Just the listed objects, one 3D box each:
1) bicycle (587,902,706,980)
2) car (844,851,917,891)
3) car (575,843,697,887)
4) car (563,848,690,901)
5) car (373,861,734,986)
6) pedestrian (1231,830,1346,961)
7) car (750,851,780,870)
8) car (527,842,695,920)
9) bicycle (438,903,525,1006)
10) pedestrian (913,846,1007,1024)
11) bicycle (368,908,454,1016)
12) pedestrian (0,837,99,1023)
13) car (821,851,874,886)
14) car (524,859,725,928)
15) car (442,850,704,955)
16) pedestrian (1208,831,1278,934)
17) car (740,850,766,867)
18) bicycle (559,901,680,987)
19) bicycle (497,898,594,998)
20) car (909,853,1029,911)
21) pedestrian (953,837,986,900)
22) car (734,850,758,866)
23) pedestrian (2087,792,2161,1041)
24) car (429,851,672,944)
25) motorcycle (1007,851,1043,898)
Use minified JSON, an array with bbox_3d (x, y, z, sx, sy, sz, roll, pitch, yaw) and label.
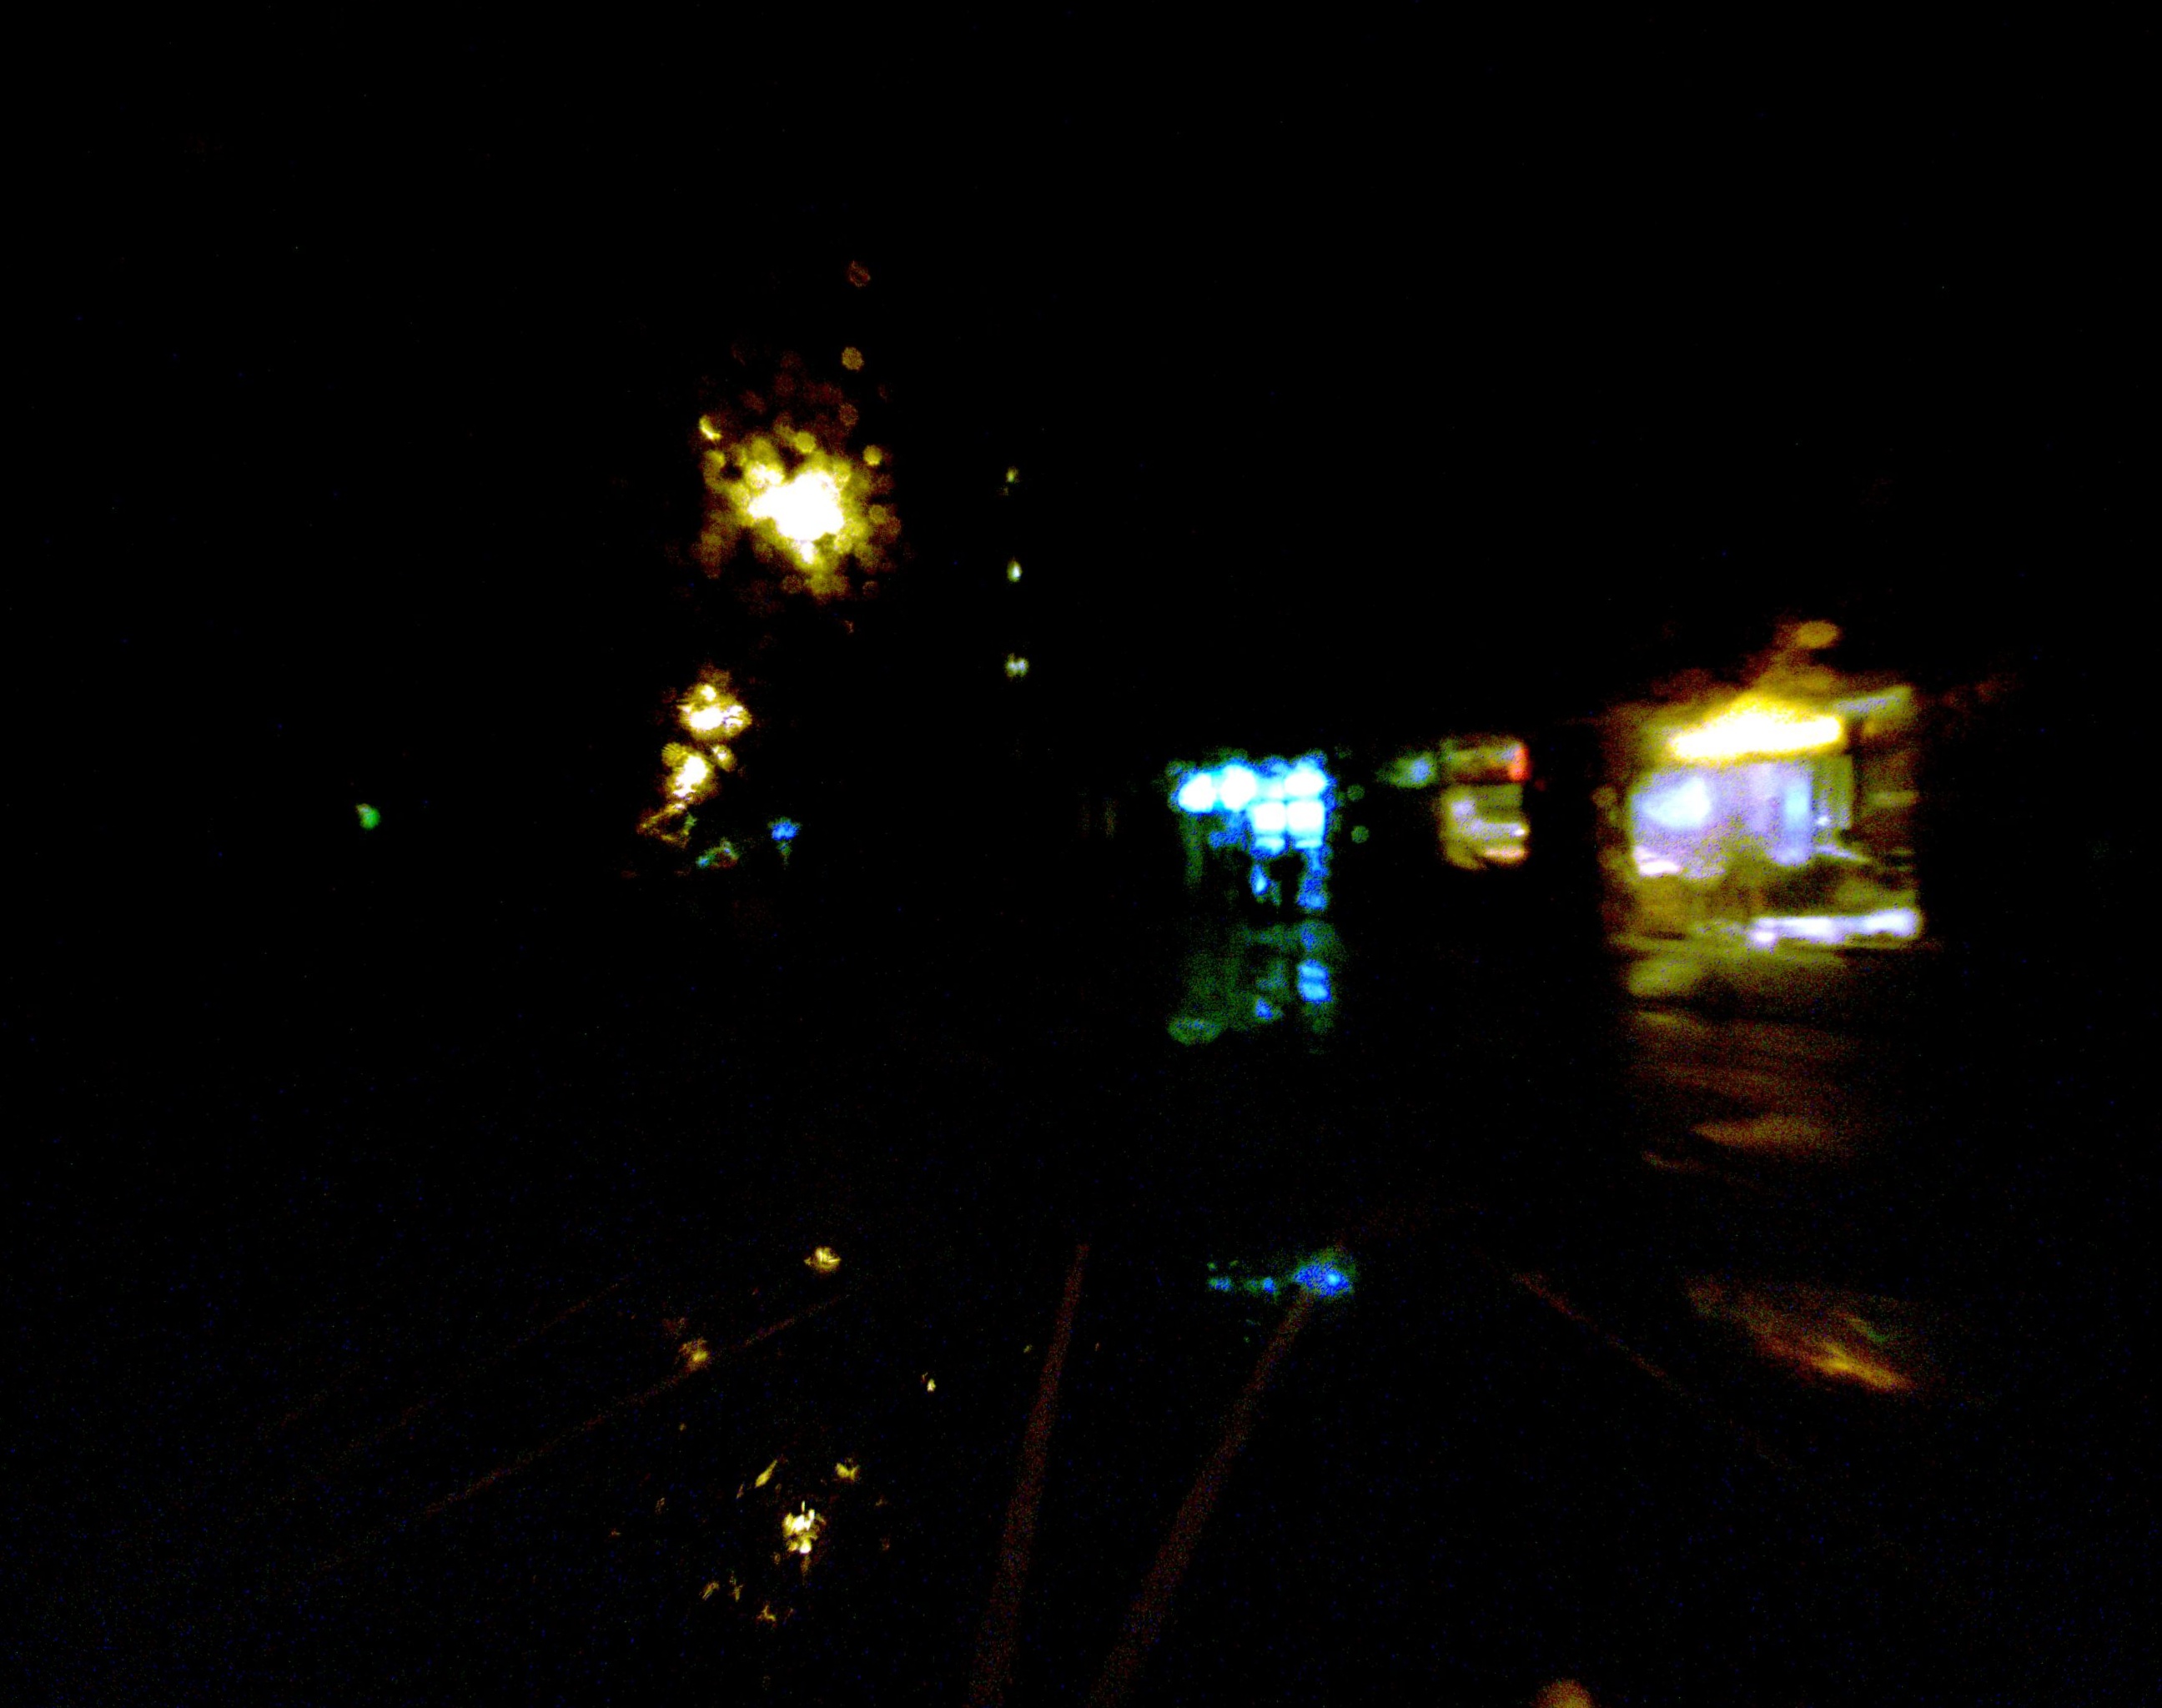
[{"bbox_3d":[-6.012,1.184,10.504,1.643,1.020,0.336,-1,0,15],"label":"bicycle"},{"bbox_3d":[-8.439,0.658,31.696,1.724,1.470,4.149,-3,1,-32],"label":"car"},{"bbox_3d":[-21.446,0.508,36.823,1.974,1.968,4.722,0,0,32],"label":"car"},{"bbox_3d":[-17.502,0.748,29.442,1.739,1.931,3.941,0,0,24],"label":"car"},{"bbox_3d":[-7.929,0.903,11.872,1.767,1.564,4.272,0,0,33],"label":"car"},{"bbox_3d":[3.145,0.579,11.625,0.960,1.852,1.411,-2,1,-30],"label":"pedestrian"},{"bbox_3d":[-27.079,0.558,65.055,1.855,1.470,3.726,-3,2,-29],"label":"car"},{"bbox_3d":[-13.272,0.695,21.690,1.717,2.016,3.747,0,0,26],"label":"car"},{"bbox_3d":[-7.113,1.151,8.992,1.641,1.086,0.337,-1,0,35],"label":"bicycle"},{"bbox_3d":[-1.281,0.810,8.008,0.829,1.761,0.599,-3,2,-17],"label":"pedestrian"},{"bbox_3d":[-7.518,1.170,8.510,1.641,1.020,0.337,1,1,35],"label":"bicycle"},{"bbox_3d":[-10.964,0.734,7.726,0.791,1.807,0.810,0,3,-4],"label":"pedestrian"},{"bbox_3d":[-11.183,0.651,36.243,1.724,1.470,3.777,-3,2,-27],"label":"car"},{"bbox_3d":[-11.693,0.932,19.732,1.829,1.588,4.081,0,0,33],"label":"car"},{"bbox_3d":[-9.418,0.798,14.411,1.767,1.702,3.747,0,0,27],"label":"car"},{"bbox_3d":[3.012,0.501,14.172,0.677,1.822,1.075,-4,2,-27],"label":"pedestrian"},{"bbox_3d":[-32.576,0.400,75.403,1.855,1.572,3.726,-4,2,-29],"label":"car"},{"bbox_3d":[-6.097,1.167,10.034,1.643,1.020,0.336,1,1,16],"label":"bicycle"},{"bbox_3d":[-6.678,1.134,9.458,1.641,1.021,0.336,3,4,31],"label":"bicycle"},{"bbox_3d":[-3.461,0.732,22.608,1.855,1.470,5.019,-2,1,-29],"label":"car"},{"bbox_3d":[-4.091,0.505,27.790,0.803,2.228,1.114,-2,1,-30],"label":"pedestrian"},{"bbox_3d":[-35.656,0.411,80.842,1.855,1.572,3.726,-4,2,-29],"label":"car"},{"bbox_3d":[8.480,0.469,5.943,0.627,1.898,0.656,-1,1,43],"label":"pedestrian"},{"bbox_3d":[-10.930,0.797,15.946,1.744,1.702,3.801,0,0,27],"label":"car"},{"bbox_3d":[-1.855,0.646,24.821,0.539,1.463,1.454,-4,2,-30],"label":"motorcycle"}]
